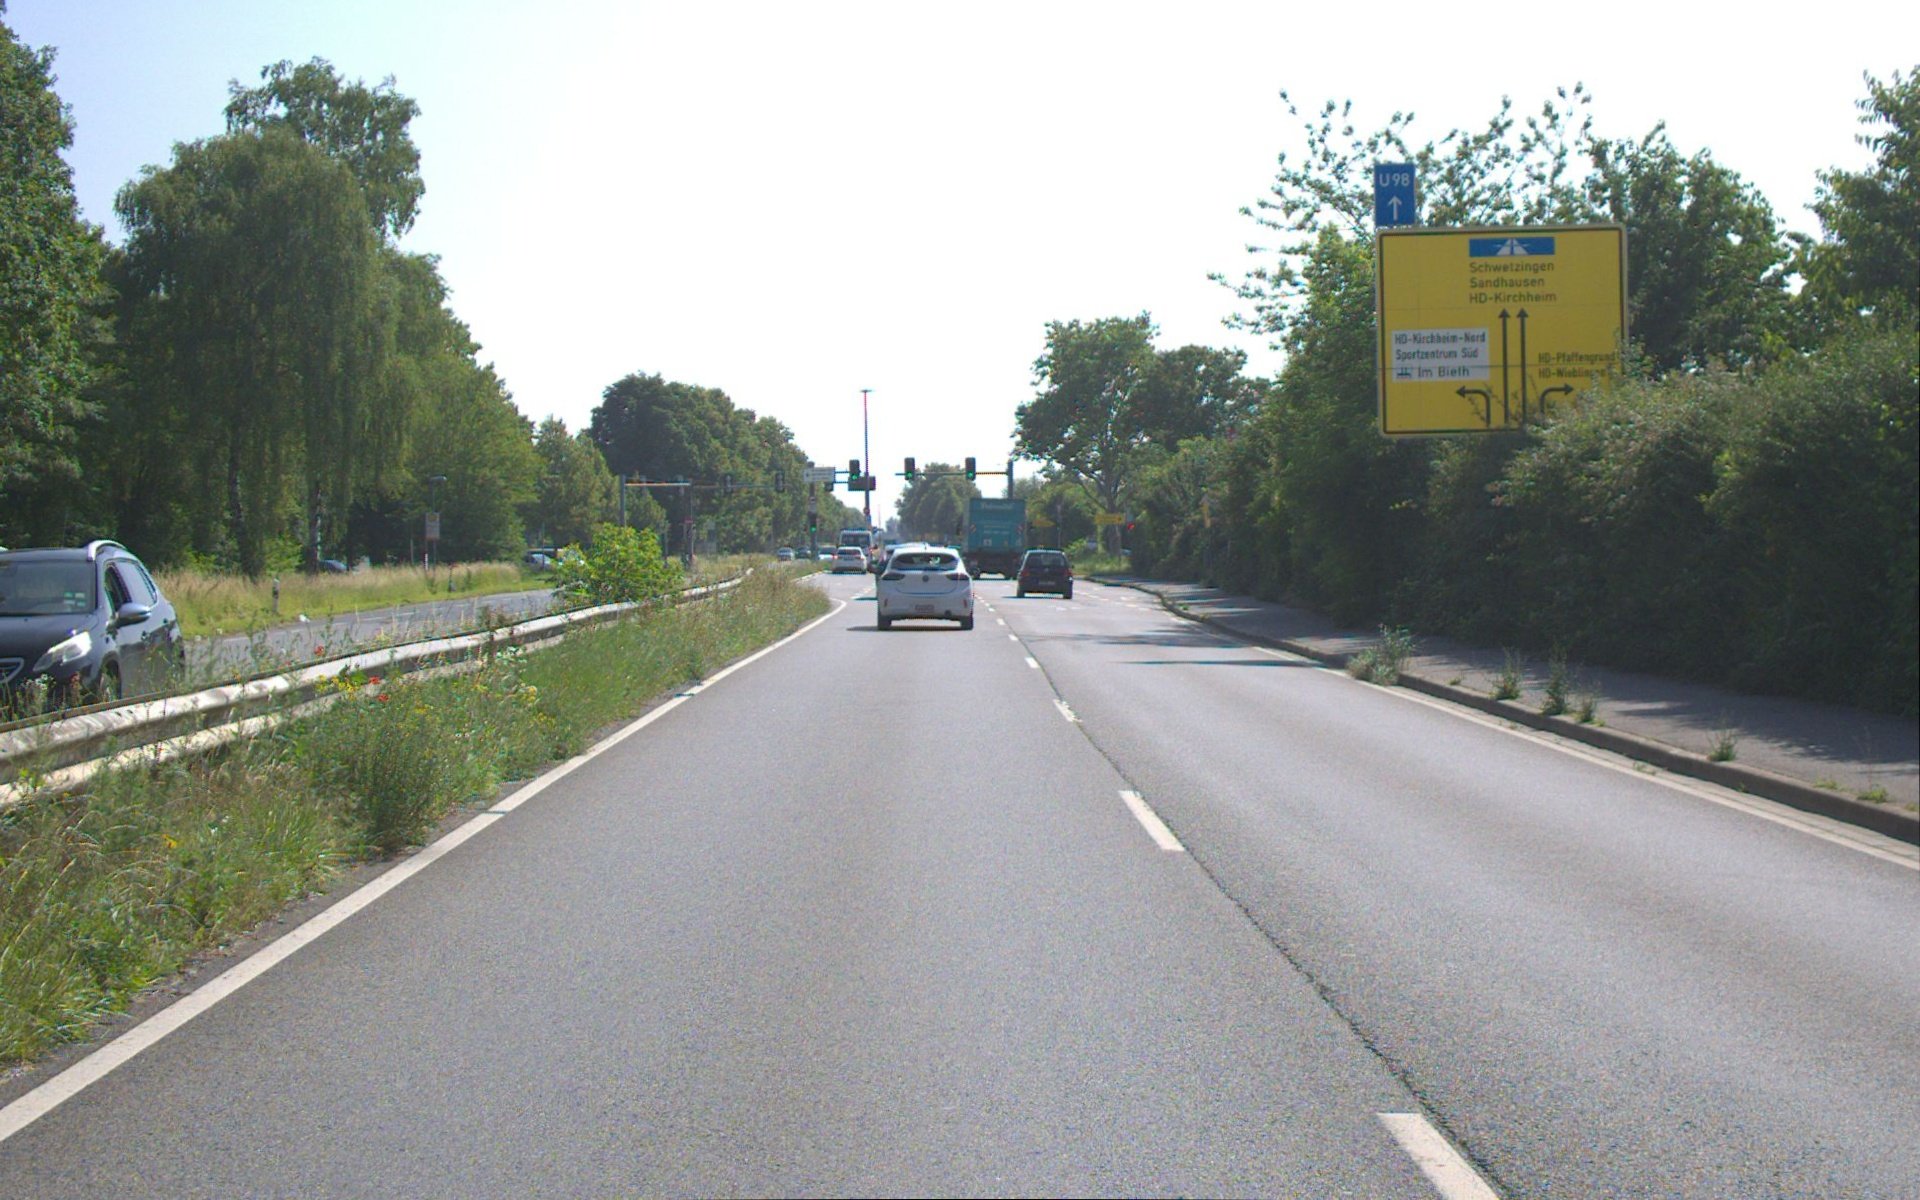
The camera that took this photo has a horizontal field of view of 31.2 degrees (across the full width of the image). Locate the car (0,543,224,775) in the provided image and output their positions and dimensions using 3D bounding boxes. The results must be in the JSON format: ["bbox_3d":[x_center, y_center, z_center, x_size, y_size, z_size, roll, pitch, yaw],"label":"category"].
[{"bbox_3d":[-6.798,0.384,25.144,1.779,1.525,4.161,-2,1,2],"label":"car"}]

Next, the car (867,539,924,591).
[{"bbox_3d":[-1.786,-0.981,95.928,1.572,1.409,3.278,0,1,-1],"label":"car"}]

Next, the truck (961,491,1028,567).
[{"bbox_3d":[1.579,-3.362,161.774,2.891,3.417,9.170,-1,1,-1],"label":"truck"}]

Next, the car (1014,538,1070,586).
[{"bbox_3d":[2.430,-1.129,102.291,1.572,1.410,3.277,0,0,0],"label":"car"}]

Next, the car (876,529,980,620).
[{"bbox_3d":[-0.552,-0.488,61.612,1.798,1.547,4.000,0,2,0],"label":"car"}]

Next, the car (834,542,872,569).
[{"bbox_3d":[-5.765,-2.402,186.180,1.812,1.459,4.971,0,1,1],"label":"car"}]

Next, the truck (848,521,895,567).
[{"bbox_3d":[-4.945,-3.176,193.343,2.374,2.380,6.041,1,3,1],"label":"truck"}]

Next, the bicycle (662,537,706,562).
[{"bbox_3d":[-19.043,-3.499,237.199,2.796,1.664,1.134,-1,1,27],"label":"bicycle"}]
